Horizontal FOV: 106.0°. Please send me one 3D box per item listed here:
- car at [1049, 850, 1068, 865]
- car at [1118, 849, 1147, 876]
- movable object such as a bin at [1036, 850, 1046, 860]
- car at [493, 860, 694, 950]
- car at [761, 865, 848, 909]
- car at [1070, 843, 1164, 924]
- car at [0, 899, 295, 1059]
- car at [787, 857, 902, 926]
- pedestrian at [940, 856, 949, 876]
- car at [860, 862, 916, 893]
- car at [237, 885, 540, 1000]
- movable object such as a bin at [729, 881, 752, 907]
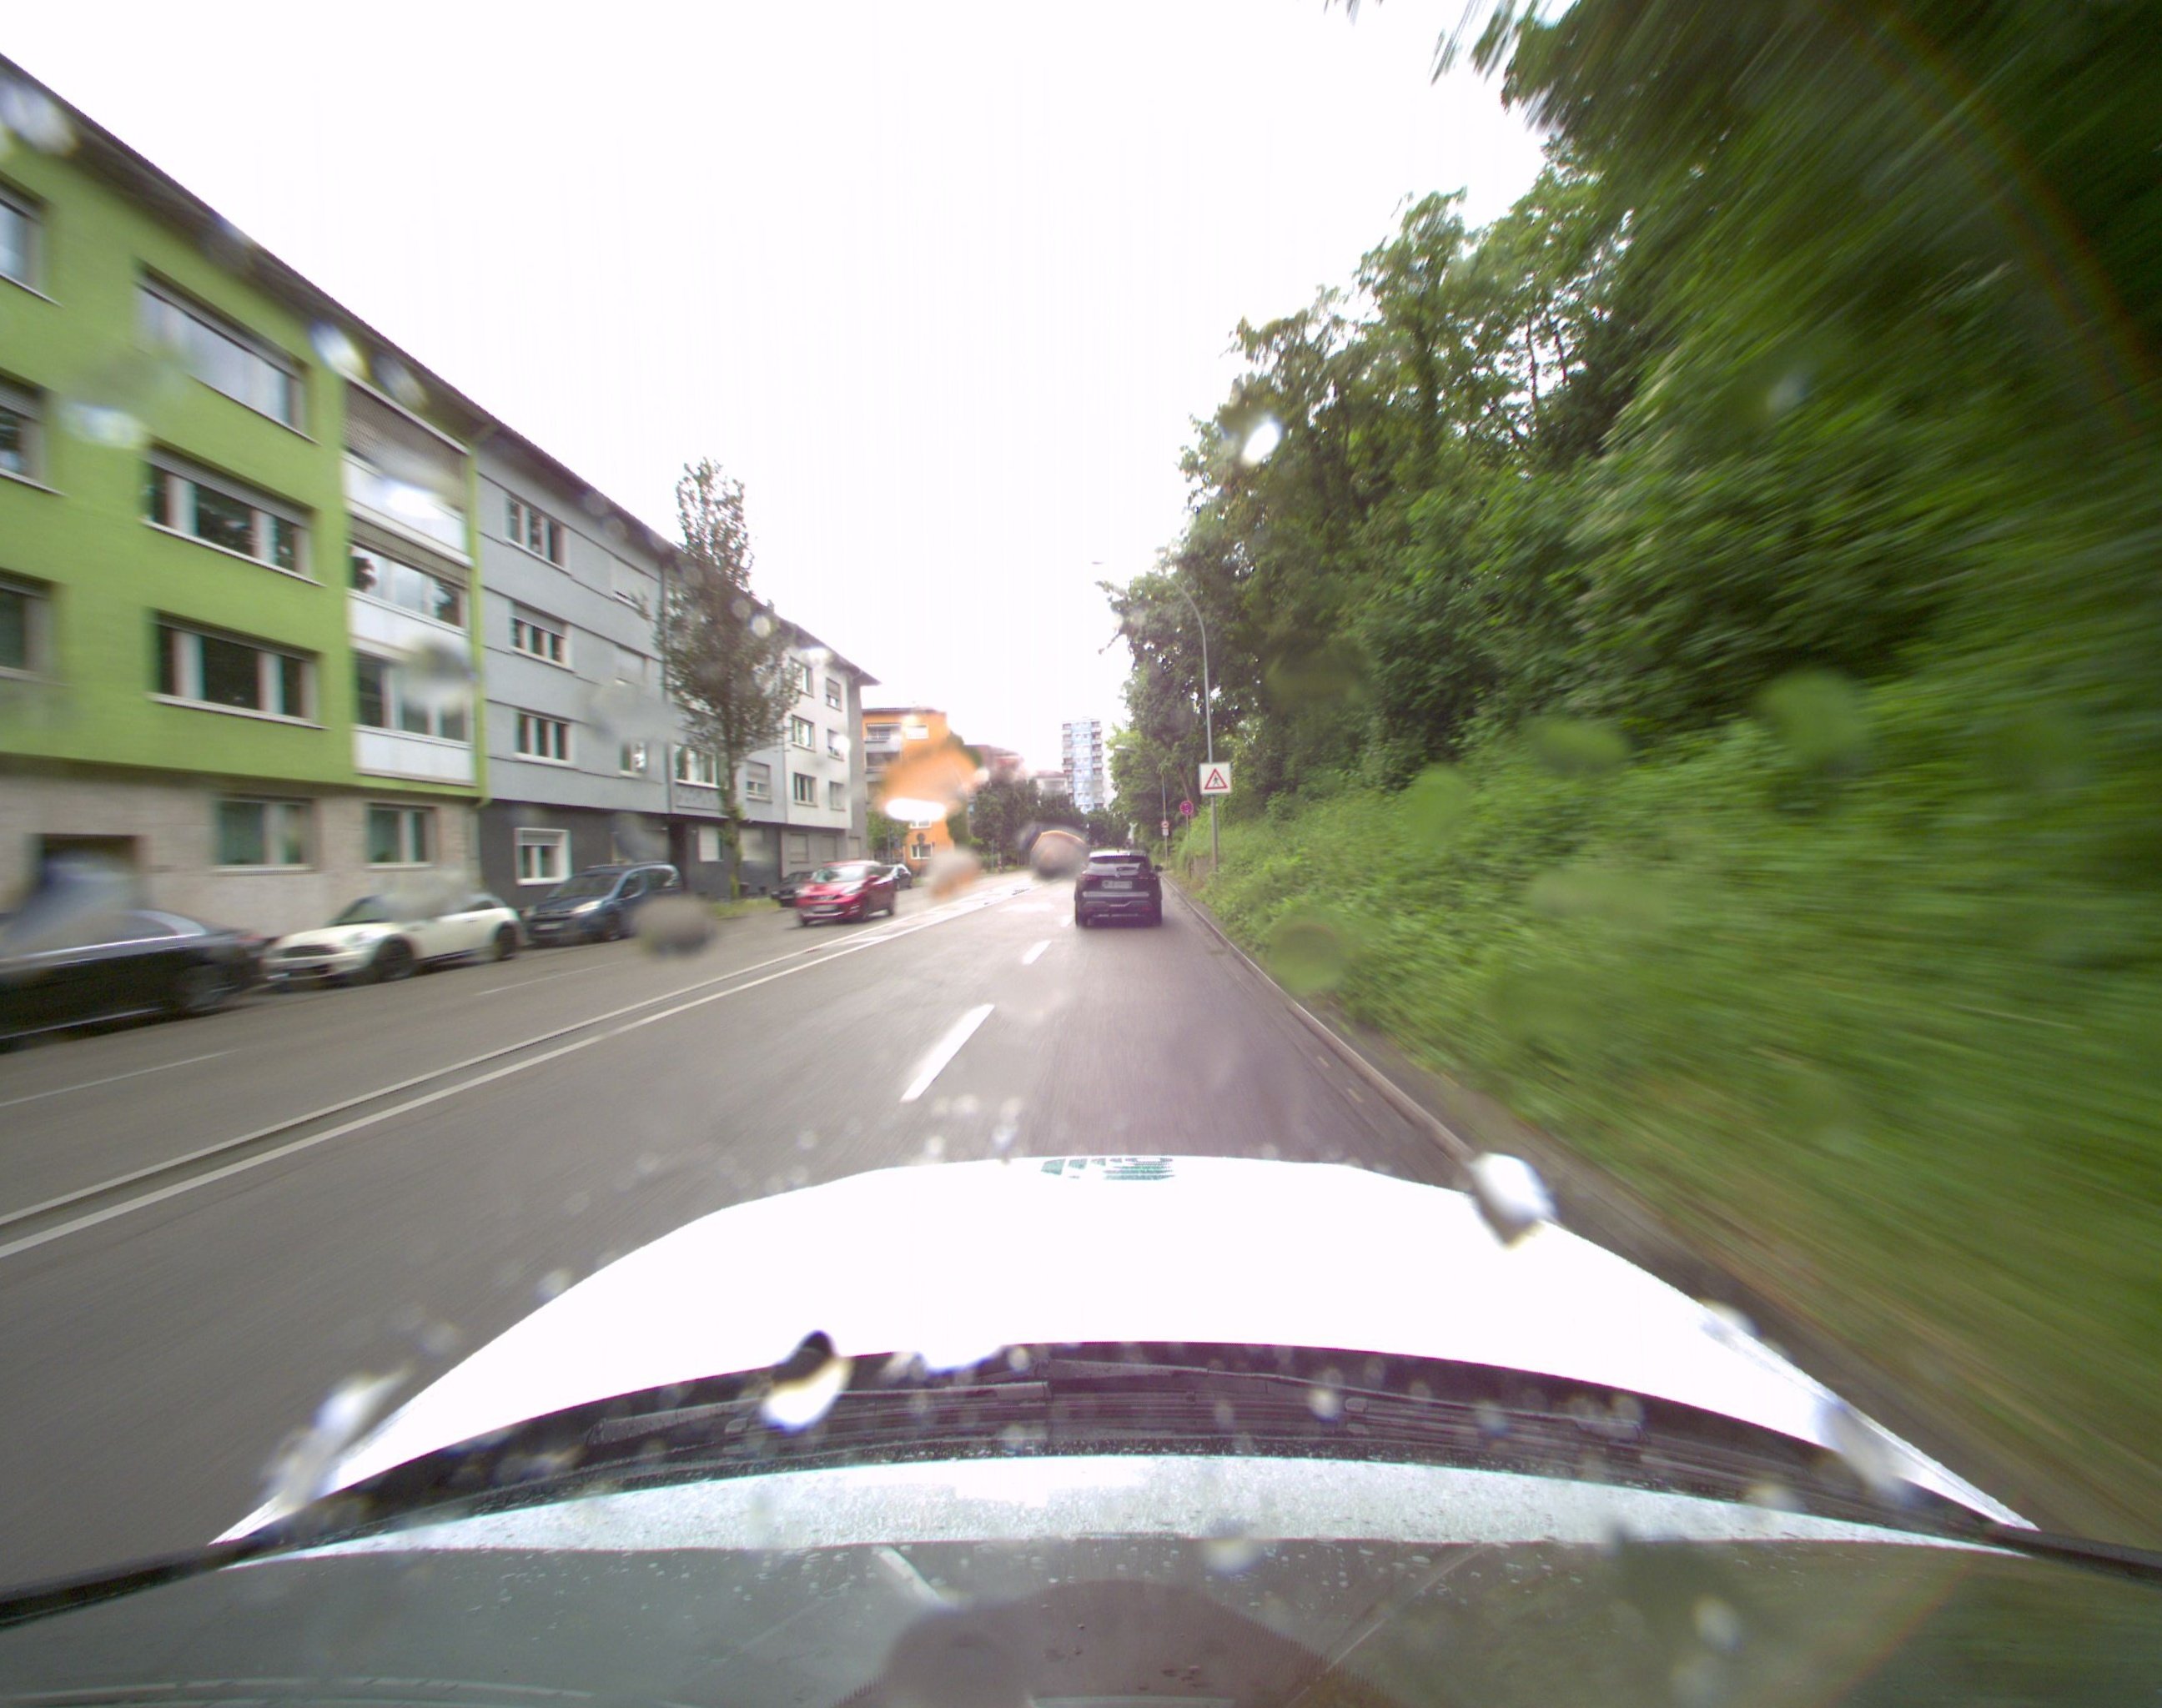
[{"bbox_3d":[-2.582,0.360,94.406,1.781,1.504,4.650,-4,0,2],"label":"car"},{"bbox_3d":[3.514,0.529,56.032,1.879,1.711,4.003,-2,0,3],"label":"car"},{"bbox_3d":[-6.227,0.169,126.676,1.315,1.361,1.260,-3,0,4],"label":"movable object such as a bin"},{"bbox_3d":[-11.556,1.110,19.772,1.883,1.766,4.602,-4,0,2],"label":"car"},{"bbox_3d":[-11.012,1.271,32.818,1.682,1.357,4.581,-6,0,2],"label":"car"},{"bbox_3d":[0.802,0.584,18.346,1.838,1.582,4.002,-2,0,2],"label":"car"},{"bbox_3d":[-11.535,1.386,8.637,1.812,1.372,4.678,-5,0,-1],"label":"car"},{"bbox_3d":[-5.885,0.880,20.710,1.701,1.478,3.680,-4,0,1],"label":"car"},{"bbox_3d":[-12.045,1.066,71.709,0.607,1.674,0.594,-3,0,0],"label":"pedestrian"},{"bbox_3d":[-10.477,1.236,44.493,1.706,1.425,4.325,-5,0,2],"label":"car"},{"bbox_3d":[-11.625,1.392,14.100,1.674,1.376,4.000,-5,0,1],"label":"car"},{"bbox_3d":[-11.955,1.401,28.586,0.467,0.817,0.610,-4,0,1],"label":"movable object such as a bin"}]
